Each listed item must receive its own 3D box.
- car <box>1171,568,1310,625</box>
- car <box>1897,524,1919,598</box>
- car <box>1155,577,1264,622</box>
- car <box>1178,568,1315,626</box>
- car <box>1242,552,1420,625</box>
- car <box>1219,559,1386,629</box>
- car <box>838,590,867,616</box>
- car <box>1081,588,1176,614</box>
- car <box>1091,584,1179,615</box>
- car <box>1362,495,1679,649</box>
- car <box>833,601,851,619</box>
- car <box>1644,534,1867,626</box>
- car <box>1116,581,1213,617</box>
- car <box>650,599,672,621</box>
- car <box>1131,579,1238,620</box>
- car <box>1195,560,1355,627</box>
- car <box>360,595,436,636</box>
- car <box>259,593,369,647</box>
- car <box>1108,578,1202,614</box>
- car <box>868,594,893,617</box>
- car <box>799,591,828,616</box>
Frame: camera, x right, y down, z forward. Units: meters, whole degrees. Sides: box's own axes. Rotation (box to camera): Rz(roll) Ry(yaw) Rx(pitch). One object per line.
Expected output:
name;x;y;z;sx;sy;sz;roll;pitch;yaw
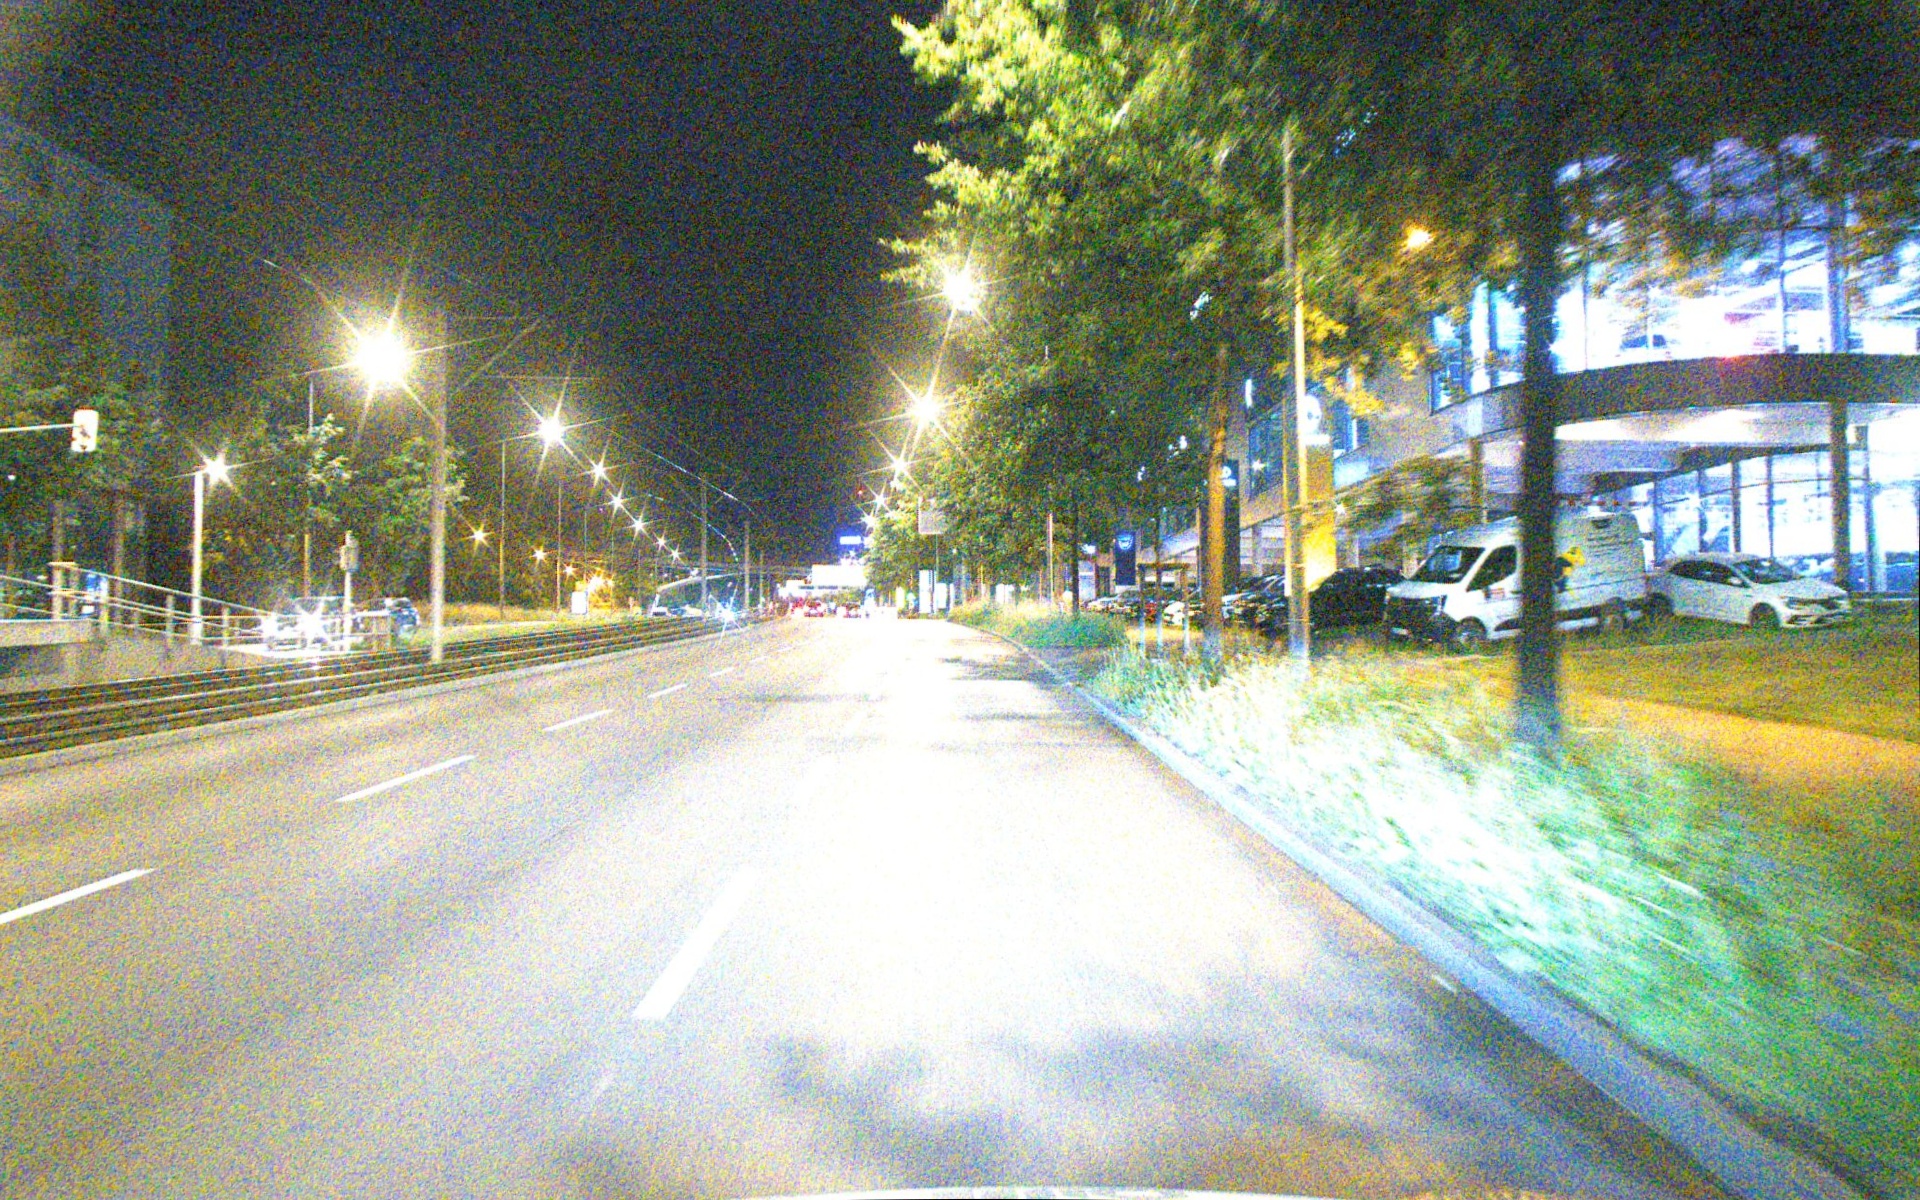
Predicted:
car;9.806;-0.114;57.844;4.383;1.574;1.765;-5;0;-12
car;22.574;-0.951;35.524;1.771;1.604;3.938;-5;1;-24
car;9.530;-0.023;63.198;3.740;1.478;1.710;-3;1;-16
car;9.415;-0.107;54.457;4.011;1.595;1.849;-4;1;-13
car;9.804;-0.317;43.812;4.130;1.692;1.955;-3;0;-13
car;10.111;-0.198;48.972;4.383;1.841;1.994;-3;1;-13
car;-9.188;0.290;141.760;2.309;2.166;4.823;0;0;-2
car;8.630;0.056;84.685;4.574;1.286;1.930;0;1;-27
car;8.652;-0.039;81.963;3.928;1.448;1.898;0;1;-20
car;11.531;-0.593;34.038;5.928;2.572;2.271;-5;1;-19
car;-13.251;1.114;185.439;1.849;1.892;3.998;0;0;-2
car;16.422;-0.385;34.346;1.782;1.742;3.938;-3;0;-24
car;9.129;-0.061;73.880;3.936;1.416;1.812;-2;2;-25
car;-38.469;1.292;212.637;2.110;2.718;6.935;-3;-1;-14
car;9.284;-0.036;68.357;3.962;1.397;1.816;-4;1;-18
car;9.816;-0.211;51.644;4.384;1.716;1.994;-5;1;-13
car;-21.960;0.594;64.750;1.626;1.543;3.910;0;0;0
car;-19.001;0.613;48.821;1.749;1.523;4.172;0;-1;-3
car;9.023;-0.169;76.568;3.931;1.495;1.821;-2;1;-22
car;-7.708;0.533;160.468;2.378;2.150;4.823;1;0;-2
car;-12.498;0.318;141.600;2.217;2.049;4.823;0;0;-2
